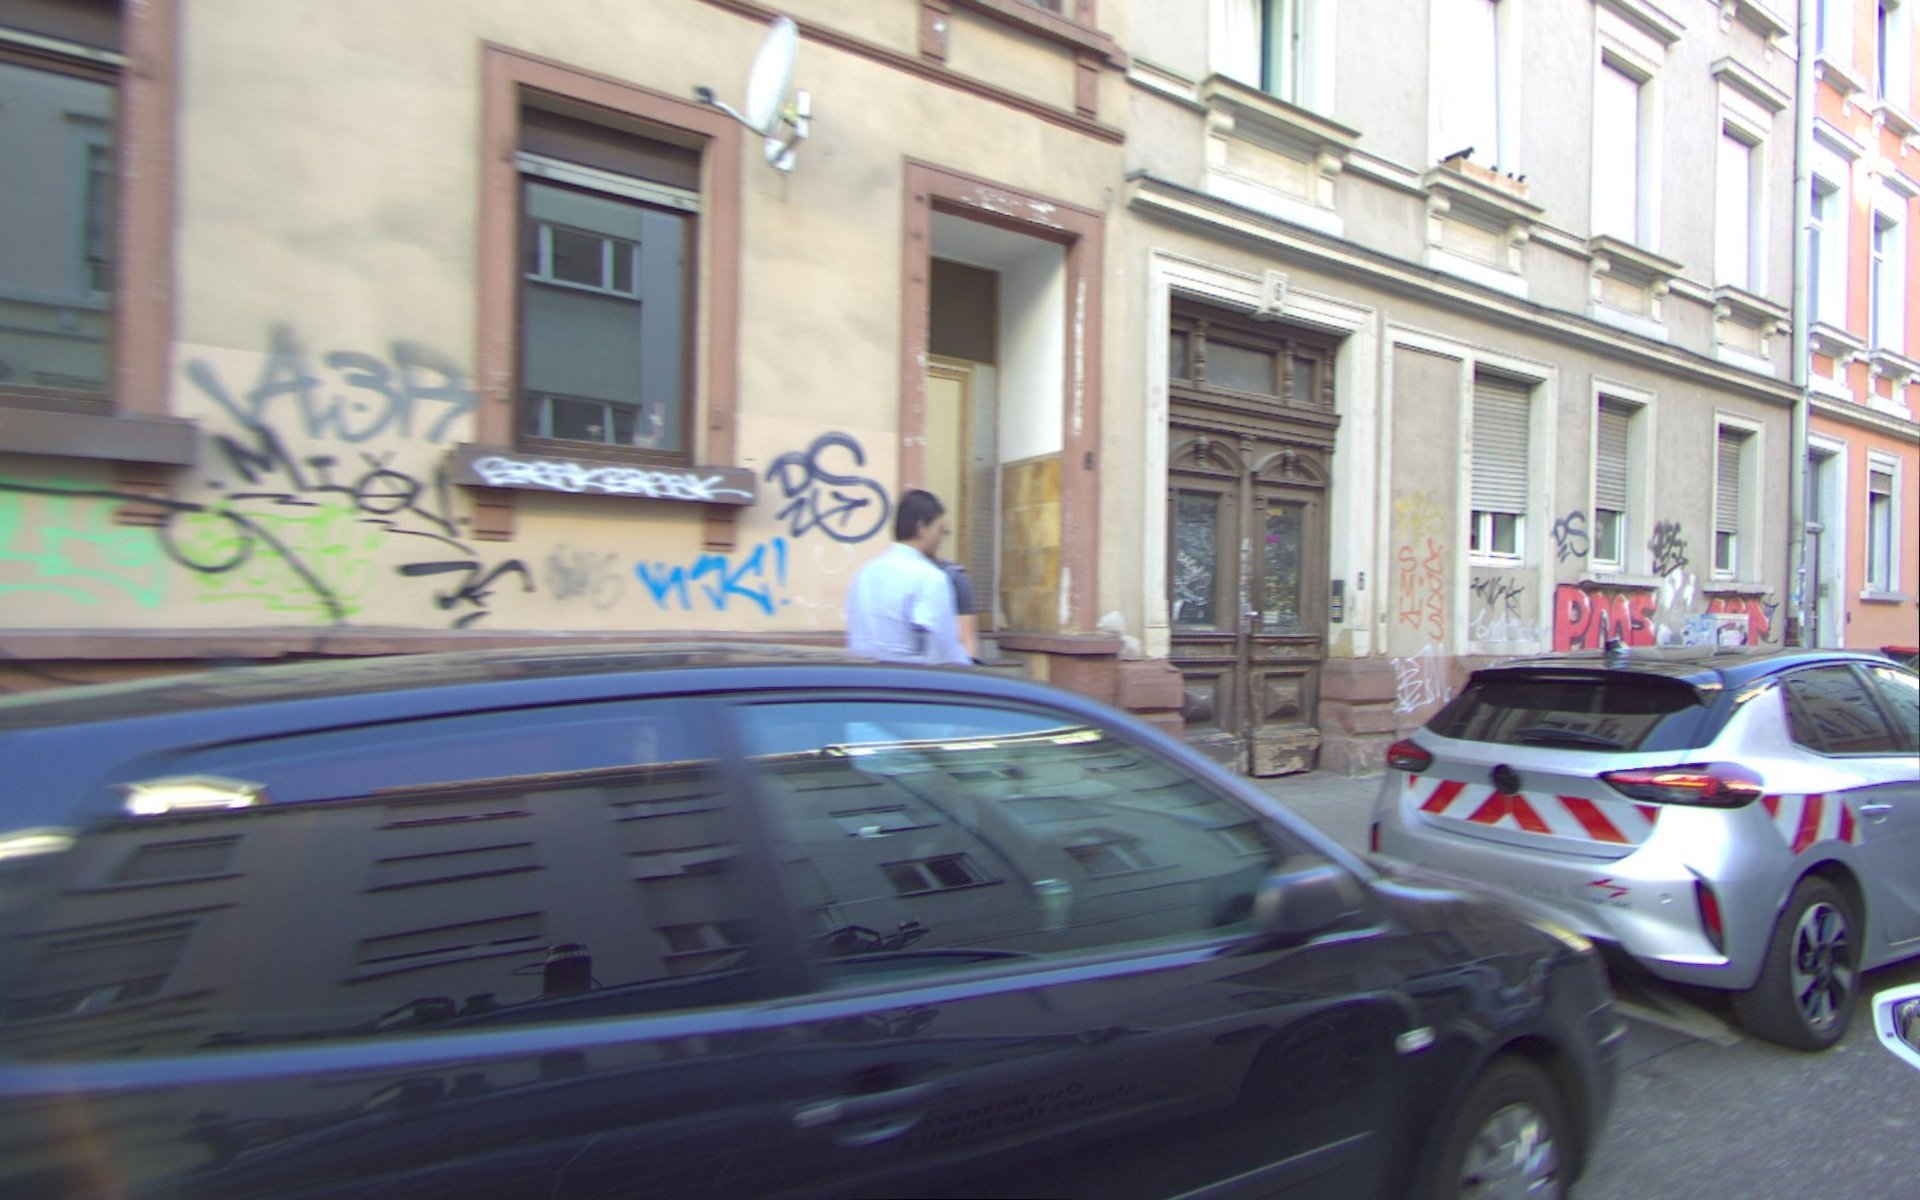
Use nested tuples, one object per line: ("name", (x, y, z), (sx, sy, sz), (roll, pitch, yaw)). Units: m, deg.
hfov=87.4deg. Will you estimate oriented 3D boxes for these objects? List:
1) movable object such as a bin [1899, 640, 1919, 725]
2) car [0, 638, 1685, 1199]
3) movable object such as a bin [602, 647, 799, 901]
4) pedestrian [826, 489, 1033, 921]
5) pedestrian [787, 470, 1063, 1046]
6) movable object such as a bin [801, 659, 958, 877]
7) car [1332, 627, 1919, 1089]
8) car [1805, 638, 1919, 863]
("movable object such as a bin", (13.298, 1.091, 13.433), (0.707, 1.141, 0.832), (1, -5, -28))
("car", (-0.198, 0.829, 2.198), (3.610, 1.459, 1.584), (1, -1, -30))
("movable object such as a bin", (-1.294, 0.791, 4.934), (0.747, 1.039, 0.786), (1, 4, -29))
("pedestrian", (-0.154, 0.457, 4.821), (0.745, 1.883, 0.607), (1, 1, -31))
("pedestrian", (-0.143, 0.506, 3.668), (0.745, 1.842, 0.648), (1, 1, -30))
("movable object such as a bin", (-0.452, 0.867, 5.481), (0.584, 1.038, 0.727), (1, 0, -30))
("car", (3.800, 0.872, 4.863), (3.840, 1.449, 1.667), (1, -1, -29))
("car", (8.130, 1.014, 7.361), (4.252, 1.432, 1.698), (1, -1, -31))
